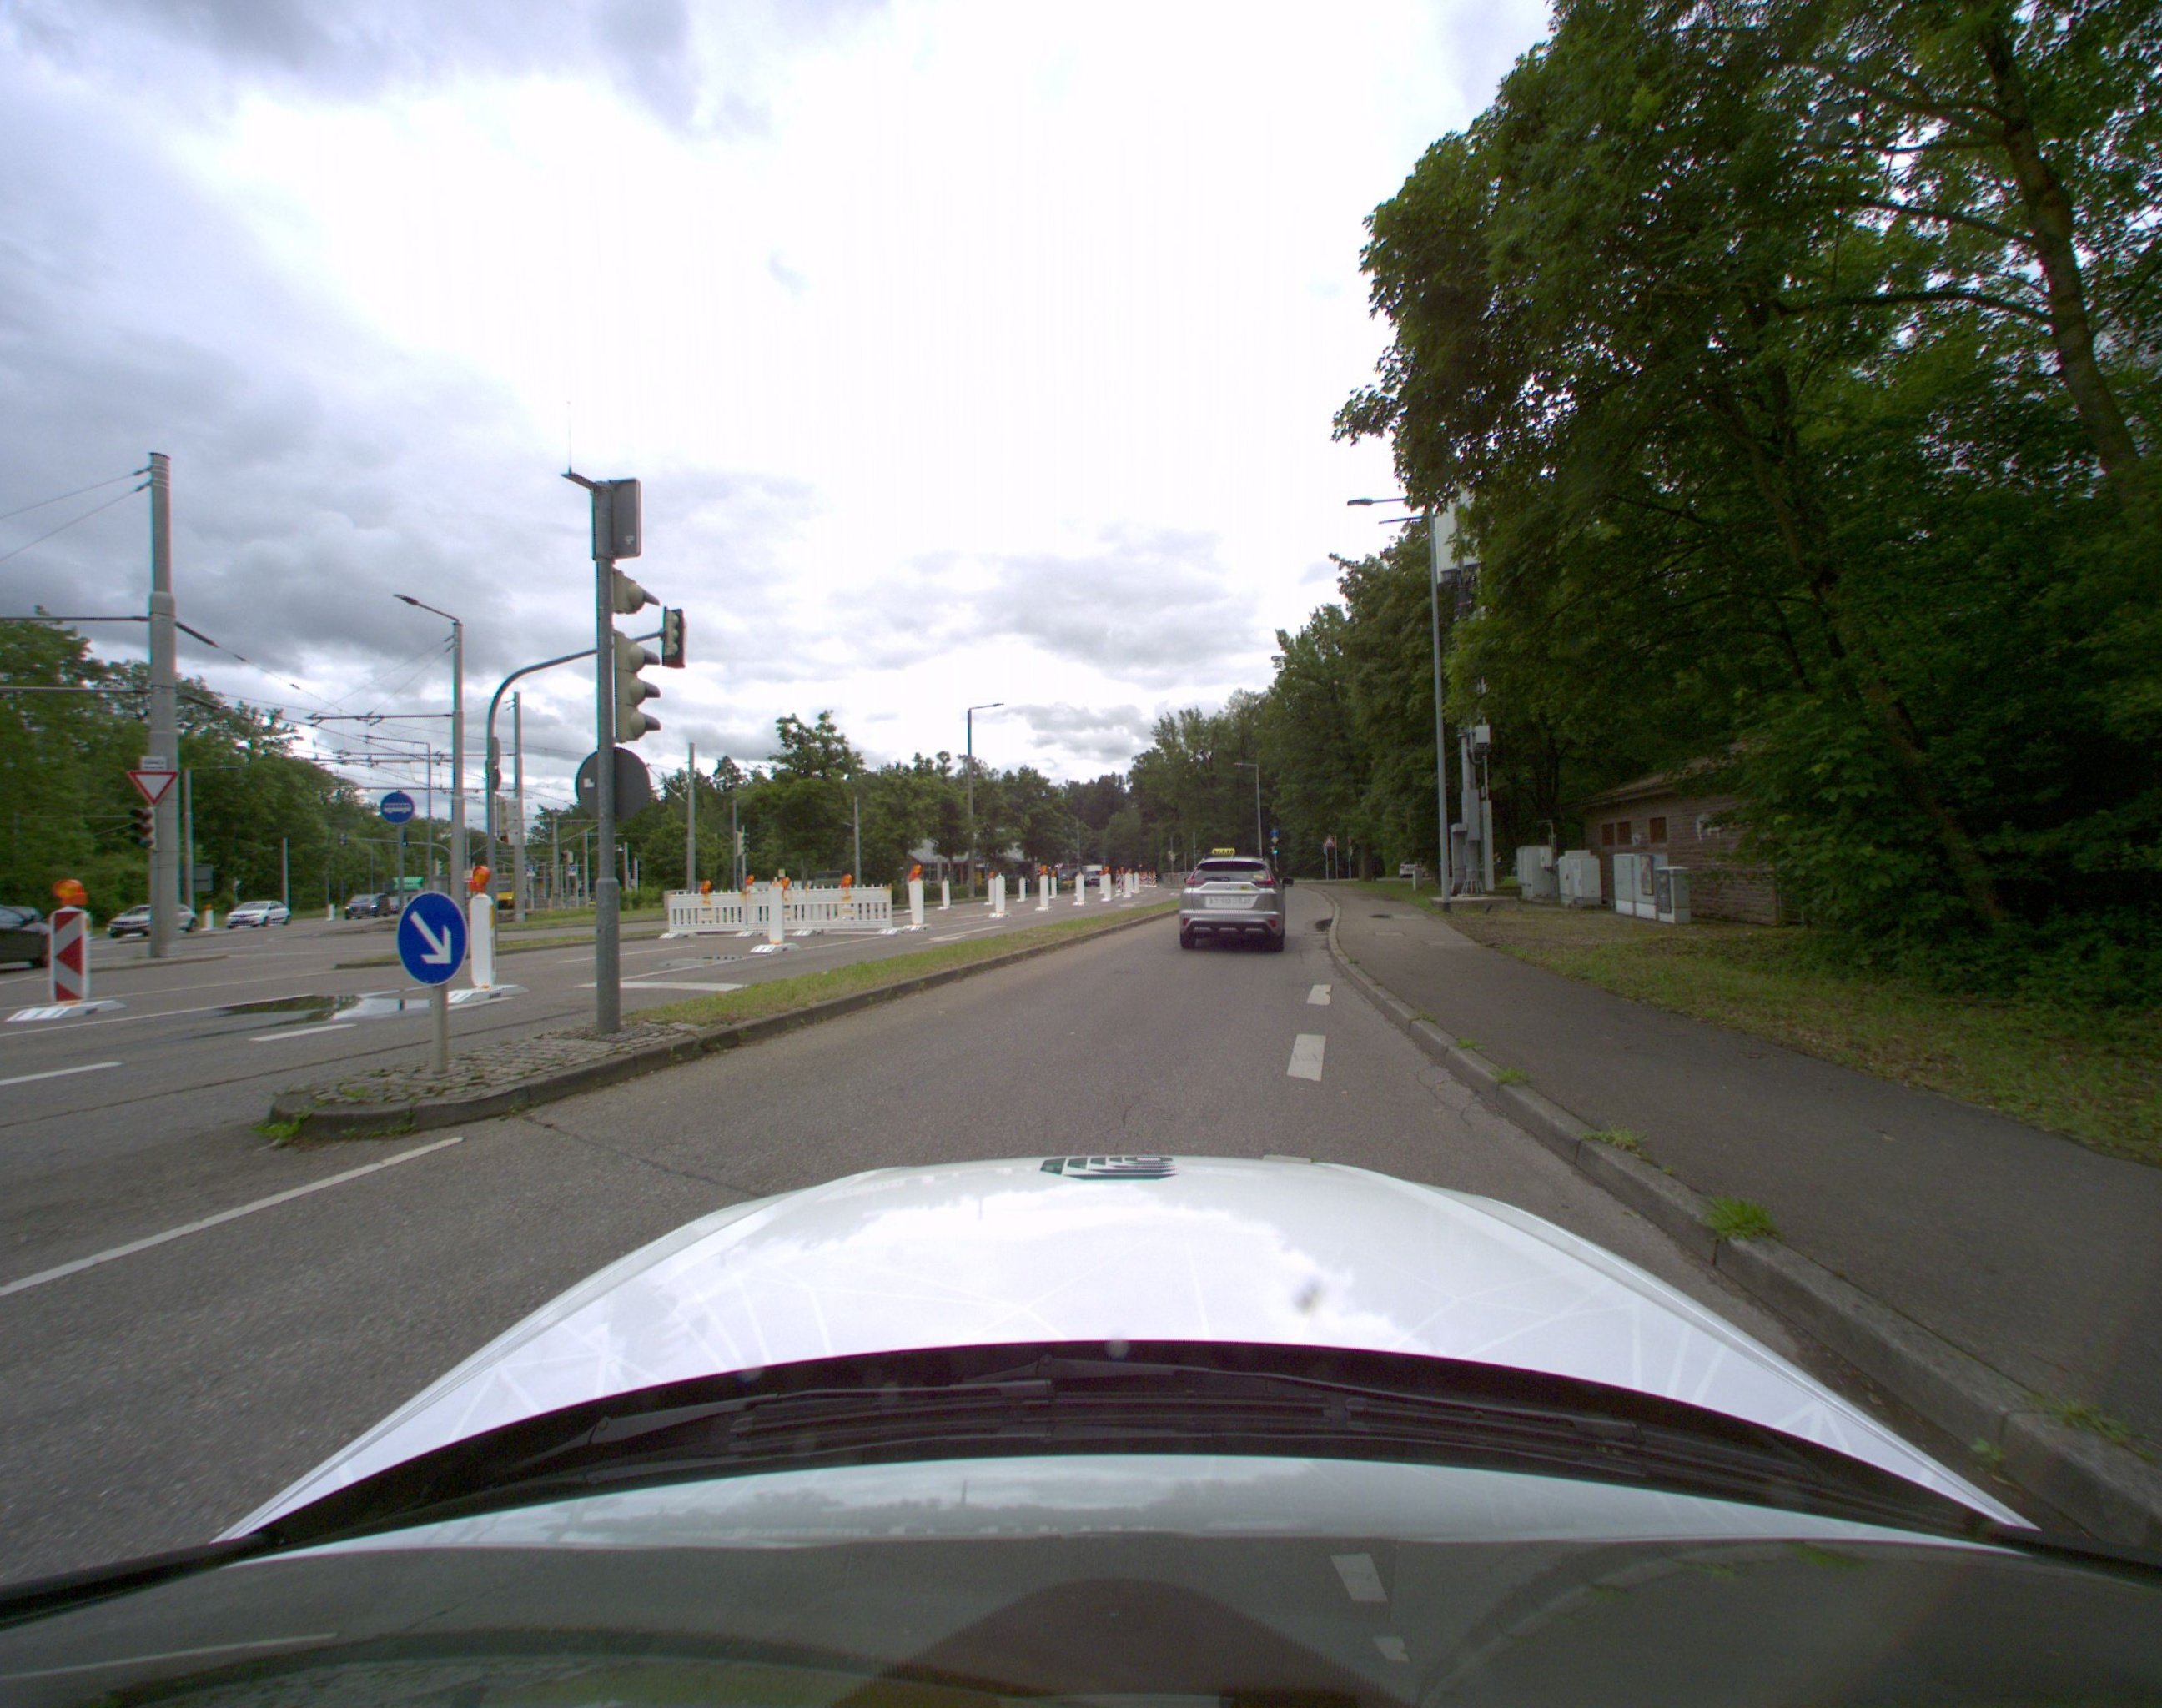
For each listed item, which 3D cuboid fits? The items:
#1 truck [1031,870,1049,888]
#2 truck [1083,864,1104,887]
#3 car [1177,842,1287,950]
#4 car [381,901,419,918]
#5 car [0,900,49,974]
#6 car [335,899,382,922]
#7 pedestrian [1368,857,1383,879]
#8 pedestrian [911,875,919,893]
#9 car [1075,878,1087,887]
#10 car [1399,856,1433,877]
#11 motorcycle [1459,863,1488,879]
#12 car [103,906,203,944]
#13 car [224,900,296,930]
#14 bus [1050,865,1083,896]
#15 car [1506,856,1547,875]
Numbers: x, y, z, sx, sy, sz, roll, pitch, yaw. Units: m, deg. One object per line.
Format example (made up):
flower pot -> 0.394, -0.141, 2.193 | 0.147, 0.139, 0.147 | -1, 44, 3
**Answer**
truck -> -8.043, 4.952, 159.415 | 2.483, 3.287, 8.491 | -2, -3, -9
truck -> 1.821, 3.228, 123.281 | 2.479, 3.287, 8.506 | -2, -2, -4
car -> 2.922, 0.751, 15.239 | 1.761, 1.748, 3.794 | -1, -2, 14
car -> -62.289, 5.022, 74.546 | 1.974, 1.361, 4.268 | -1, -1, -30
car -> -21.218, 1.592, 15.134 | 1.788, 1.361, 3.435 | -2, -2, -39
car -> -56.561, 4.384, 63.835 | 1.974, 1.540, 4.268 | -1, -1, -30
pedestrian -> 20.998, 0.991, 57.983 | 0.832, 1.506, 0.795 | -2, -2, 30
pedestrian -> -15.328, 2.774, 75.173 | 0.495, 1.626, 0.555 | 0, -2, -39
car -> -0.038, 4.757, 136.279 | 1.554, 1.529, 3.818 | -1, -1, -6
car -> 26.085, 0.937, 63.434 | 1.816, 1.536, 4.025 | -2, -1, 31
motorcycle -> 27.318, 1.212, 56.731 | 1.810, 1.057, 0.618 | -2, -1, 25
car -> -45.765, 3.462, 40.287 | 1.974, 1.607, 4.268 | -1, -1, -30
car -> -49.283, 3.642, 49.008 | 1.974, 1.541, 4.353 | -1, -1, -30
bus -> -1.953, 3.237, 101.434 | 2.819, 3.603, 12.771 | -2, -1, -7
car -> 33.173, 0.884, 60.735 | 1.546, 1.326, 4.012 | -2, -1, 11
